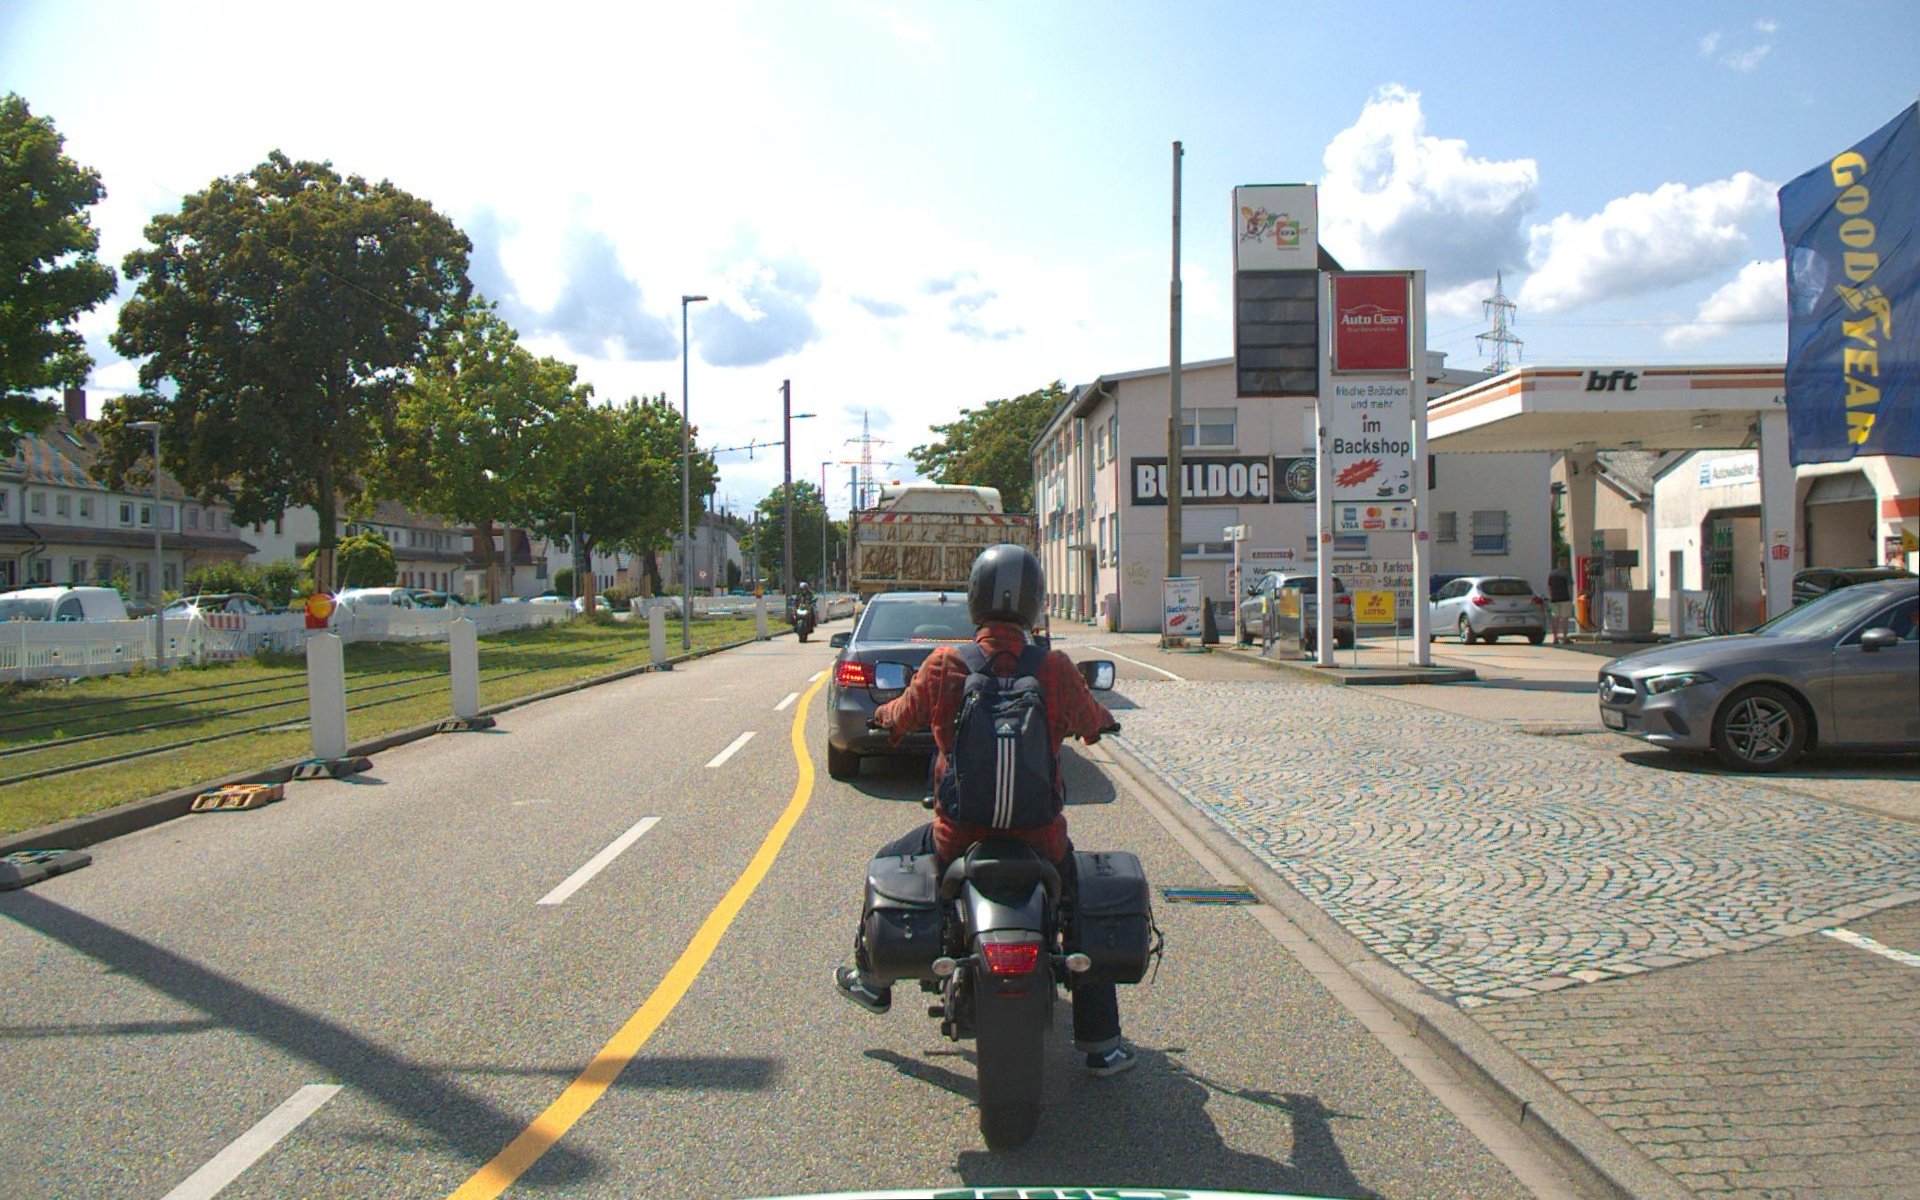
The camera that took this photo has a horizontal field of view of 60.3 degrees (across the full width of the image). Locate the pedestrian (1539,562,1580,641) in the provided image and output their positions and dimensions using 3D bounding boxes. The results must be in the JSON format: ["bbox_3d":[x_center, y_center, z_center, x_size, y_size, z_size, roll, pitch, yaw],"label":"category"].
[{"bbox_3d":[12.952,0.032,35.720,0.696,1.685,0.546,-1,0,35],"label":"pedestrian"}]

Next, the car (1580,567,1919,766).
[{"bbox_3d":[7.206,0.466,12.853,4.181,1.440,1.675,-1,0,7],"label":"car"}]

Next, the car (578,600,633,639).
[{"bbox_3d":[-17.054,0.912,79.694,1.740,1.753,4.127,-1,0,-1],"label":"car"}]

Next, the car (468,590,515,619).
[{"bbox_3d":[-29.423,0.279,103.961,1.740,1.753,4.127,-1,0,-1],"label":"car"}]

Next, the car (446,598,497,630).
[{"bbox_3d":[-28.298,0.782,95.844,1.740,1.753,4.127,-1,0,-1],"label":"car"}]

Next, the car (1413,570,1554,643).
[{"bbox_3d":[11.720,0.121,37.273,1.770,1.529,3.831,-1,0,-3],"label":"car"}]

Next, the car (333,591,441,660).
[{"bbox_3d":[-16.941,0.716,49.091,1.740,1.900,4.127,-1,0,-1],"label":"car"}]

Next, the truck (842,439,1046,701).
[{"bbox_3d":[-0.266,-0.424,25.465,2.585,3.354,8.055,-1,0,-1],"label":"truck"}]

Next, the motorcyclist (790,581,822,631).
[{"bbox_3d":[-4.347,0.165,46.729,0.851,1.402,0.800,-1,0,-4],"label":"motorcyclist"}]

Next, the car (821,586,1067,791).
[{"bbox_3d":[-0.144,0.635,14.143,1.786,1.478,3.999,1,0,-1],"label":"car"}]

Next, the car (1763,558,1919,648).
[{"bbox_3d":[16.617,0.027,30.328,1.770,1.529,3.832,-1,0,-3],"label":"car"}]

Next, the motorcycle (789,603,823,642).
[{"bbox_3d":[-4.347,0.617,46.732,0.851,1.039,2.243,-1,0,-3],"label":"motorcycle"}]

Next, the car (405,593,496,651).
[{"bbox_3d":[-16.972,0.701,55.270,1.740,1.837,4.127,-1,0,-1],"label":"car"}]

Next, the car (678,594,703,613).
[{"bbox_3d":[-26.072,0.292,160.268,1.740,1.753,4.250,-1,0,-1],"label":"car"}]

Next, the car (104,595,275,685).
[{"bbox_3d":[-16.675,0.813,36.034,1.740,1.805,4.227,-1,0,-1],"label":"car"}]

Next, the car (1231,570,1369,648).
[{"bbox_3d":[7.456,0.177,36.638,1.636,1.589,4.236,-1,0,-8],"label":"car"}]

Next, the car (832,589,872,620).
[{"bbox_3d":[-5.413,0.202,83.335,1.786,1.478,4.323,-2,0,-1],"label":"car"}]

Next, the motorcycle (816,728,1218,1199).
[{"bbox_3d":[0.120,0.995,5.331,0.959,0.913,2.653,-1,0,-1],"label":"motorcycle"}]

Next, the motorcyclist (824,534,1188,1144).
[{"bbox_3d":[0.118,0.641,5.026,0.959,1.630,1.087,-1,0,-1],"label":"motorcyclist"}]

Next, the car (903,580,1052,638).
[{"bbox_3d":[0.528,0.238,47.608,4.141,1.570,1.674,-1,0,5],"label":"car"}]

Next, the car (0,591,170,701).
[{"bbox_3d":[-16.433,0.783,30.398,1.740,1.853,4.363,-1,0,-1],"label":"car"}]

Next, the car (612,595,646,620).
[{"bbox_3d":[-24.961,0.554,124.861,1.740,1.753,4.127,-1,0,-1],"label":"car"}]
